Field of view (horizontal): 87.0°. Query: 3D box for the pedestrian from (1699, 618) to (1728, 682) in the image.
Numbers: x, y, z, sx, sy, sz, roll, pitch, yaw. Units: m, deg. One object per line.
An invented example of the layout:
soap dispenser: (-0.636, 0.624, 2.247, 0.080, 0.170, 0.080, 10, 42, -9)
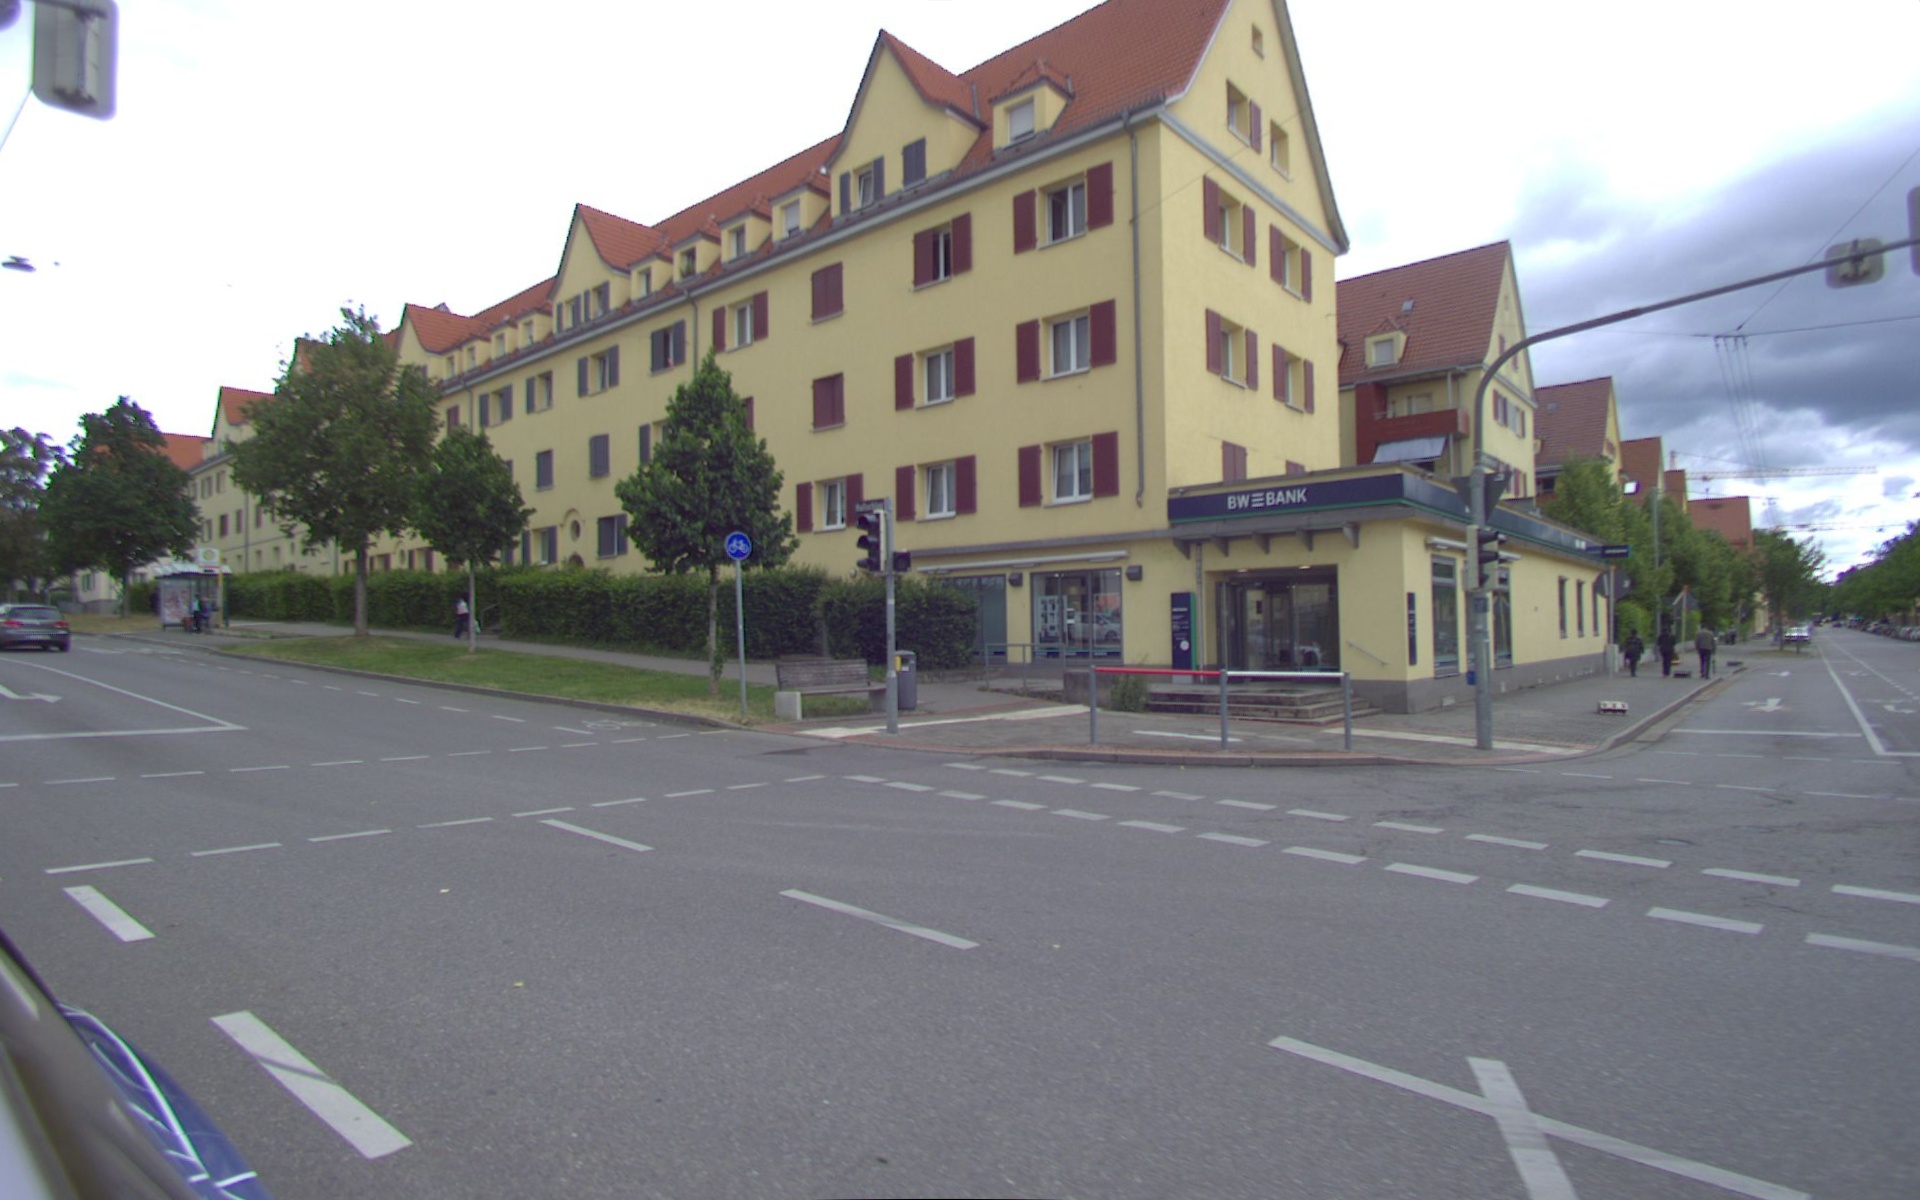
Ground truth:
pedestrian: (24.147, 1.595, 32.438, 0.682, 2.029, 0.679, -1, -1, 34)

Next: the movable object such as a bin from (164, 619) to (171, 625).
movable object such as a bin: (-50.015, 1.368, 63.856, 0.303, 0.350, 0.582, 1, -1, -44)

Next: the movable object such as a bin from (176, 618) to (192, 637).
movable object such as a bin: (-34.488, 1.219, 44.986, 0.665, 0.832, 0.459, -1, 0, 42)

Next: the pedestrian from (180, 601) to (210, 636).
pedestrian: (-33.452, 0.801, 44.228, 0.806, 1.521, 0.890, -1, 0, 41)

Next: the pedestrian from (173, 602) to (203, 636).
pedestrian: (-34.414, 0.843, 45.105, 0.806, 1.485, 0.890, -1, 0, 41)

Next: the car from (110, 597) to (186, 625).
car: (-67.832, 0.935, 84.574, 1.994, 2.270, 4.669, 0, -1, 41)

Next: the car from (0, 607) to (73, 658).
car: (-29.692, 1.019, 31.984, 4.302, 1.484, 1.739, -1, -4, 39)

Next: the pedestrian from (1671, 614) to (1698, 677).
pedestrian: (23.547, 1.457, 32.895, 0.683, 2.029, 0.679, -1, -1, 38)

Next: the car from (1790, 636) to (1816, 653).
car: (76.835, 4.004, 92.242, 1.704, 1.480, 3.944, -1, -2, 42)

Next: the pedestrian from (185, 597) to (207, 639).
pedestrian: (-31.909, 0.742, 42.275, 0.861, 1.740, 0.591, -1, 0, 43)

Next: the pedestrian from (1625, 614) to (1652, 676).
pedestrian: (22.457, 1.470, 33.515, 0.682, 2.029, 0.680, -1, -1, 33)

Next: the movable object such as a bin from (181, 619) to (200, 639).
movable object such as a bin: (-33.560, 1.258, 44.117, 0.665, 0.852, 0.531, -1, 0, 42)

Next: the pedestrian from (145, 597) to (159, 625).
pedestrian: (-50.568, 0.694, 63.344, 0.752, 1.793, 0.508, -1, -1, 40)

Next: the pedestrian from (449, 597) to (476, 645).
pedestrian: (-17.034, 0.704, 34.657, 0.617, 1.631, 0.634, -1, -1, 39)
